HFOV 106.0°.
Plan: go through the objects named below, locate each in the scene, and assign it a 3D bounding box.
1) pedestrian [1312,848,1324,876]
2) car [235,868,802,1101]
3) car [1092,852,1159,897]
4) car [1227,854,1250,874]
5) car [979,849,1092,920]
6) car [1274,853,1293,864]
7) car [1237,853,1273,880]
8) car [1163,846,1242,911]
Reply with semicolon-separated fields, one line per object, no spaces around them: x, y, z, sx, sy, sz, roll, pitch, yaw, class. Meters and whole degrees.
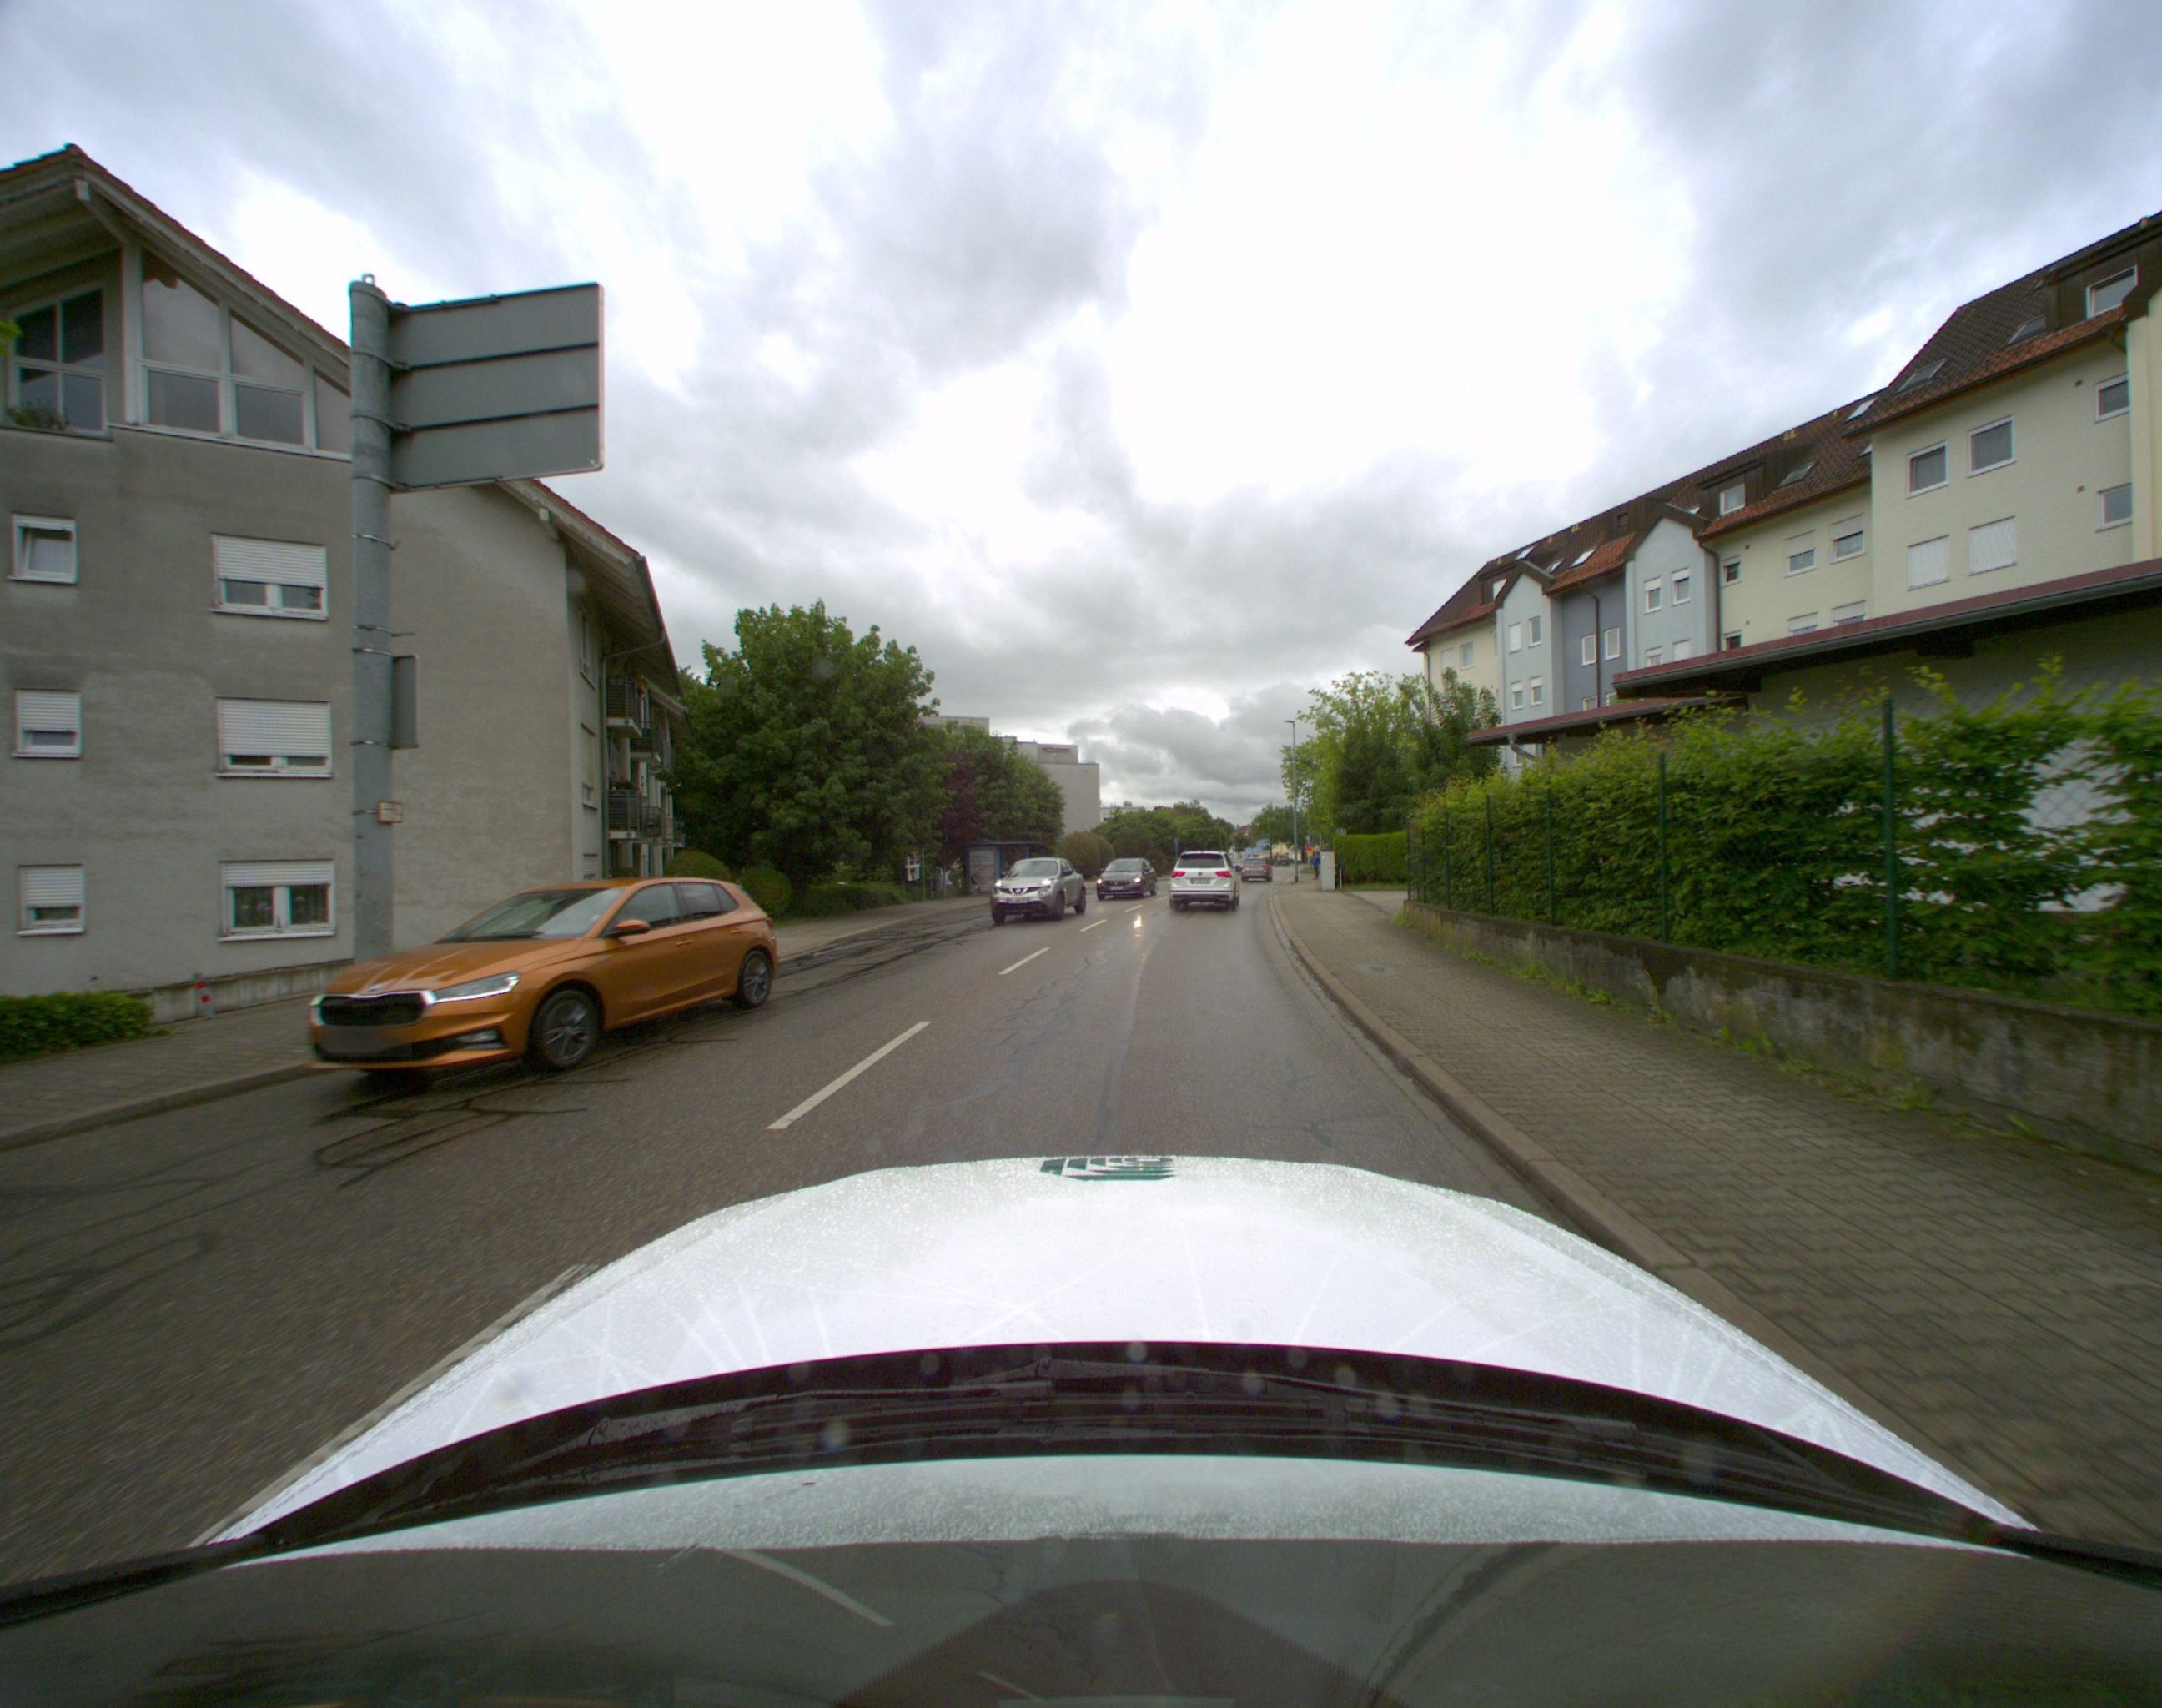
14.249;0.494;49.039;0.565;1.672;0.726;-2;-3;23;pedestrian
-4.498;0.910;7.463;1.890;1.439;4.126;-2;0;9;car
1.792;0.732;31.514;1.889;1.590;4.129;-2;0;12;car
14.361;0.901;74.074;1.888;1.657;4.129;-2;0;13;car
-1.079;0.738;21.461;1.889;1.657;4.129;-2;0;12;car
29.401;0.652;118.327;1.997;1.457;4.003;-1;-2;4;car
10.386;0.788;48.478;1.752;1.510;4.016;-2;-2;16;car
3.652;0.627;23.859;1.907;1.722;4.280;0;0;13;car
